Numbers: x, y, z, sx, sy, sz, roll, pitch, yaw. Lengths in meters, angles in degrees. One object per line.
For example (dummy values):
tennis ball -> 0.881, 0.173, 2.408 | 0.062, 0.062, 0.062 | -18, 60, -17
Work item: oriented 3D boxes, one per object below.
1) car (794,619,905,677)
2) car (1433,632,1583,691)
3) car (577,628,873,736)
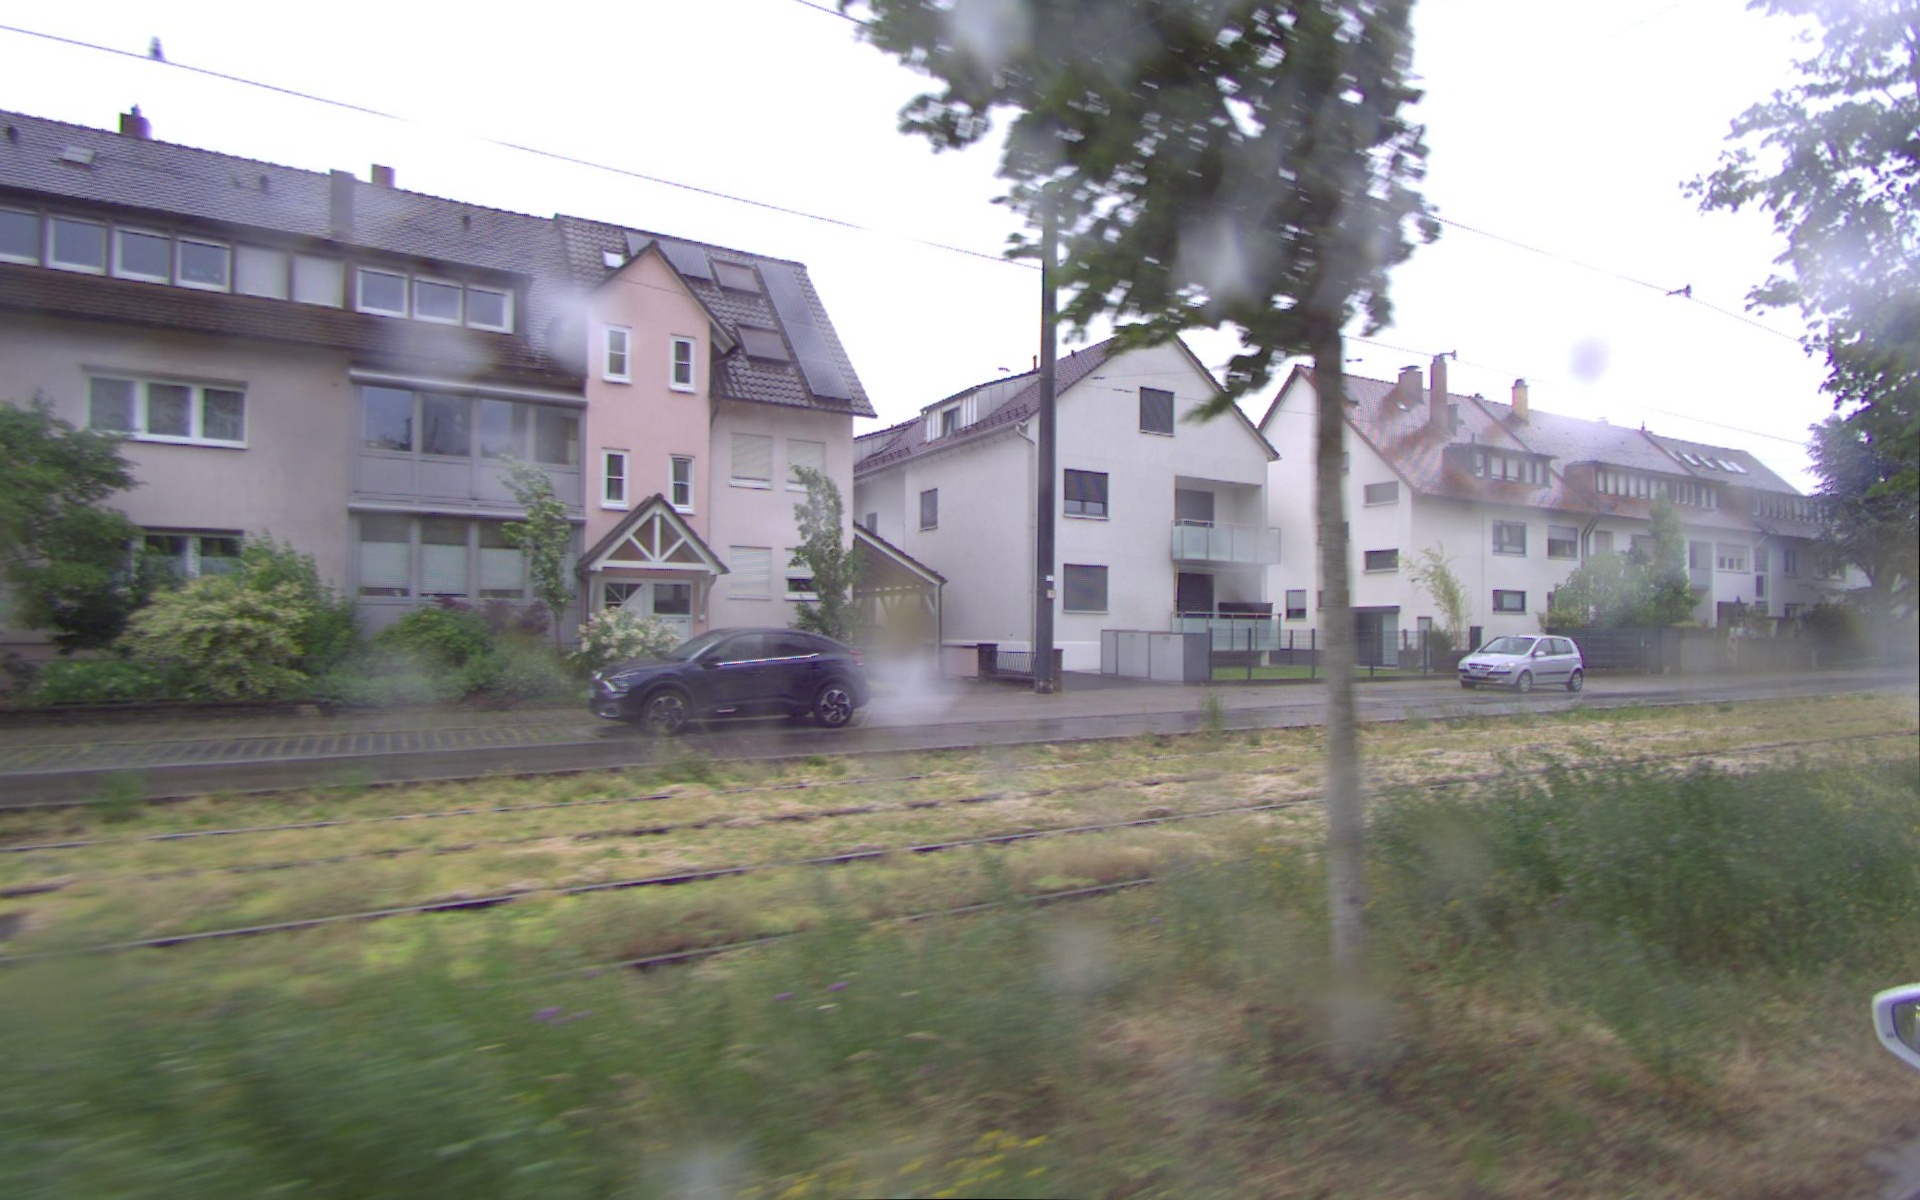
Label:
car -> -3.306, 1.361, 29.440 | 1.820, 1.521, 3.969 | 2, -1, -29
car -> 14.661, 1.625, 26.844 | 3.617, 1.432, 1.983 | 2, -1, -31
car -> -3.614, 1.221, 15.646 | 4.127, 1.445, 1.827 | 2, -1, -32
